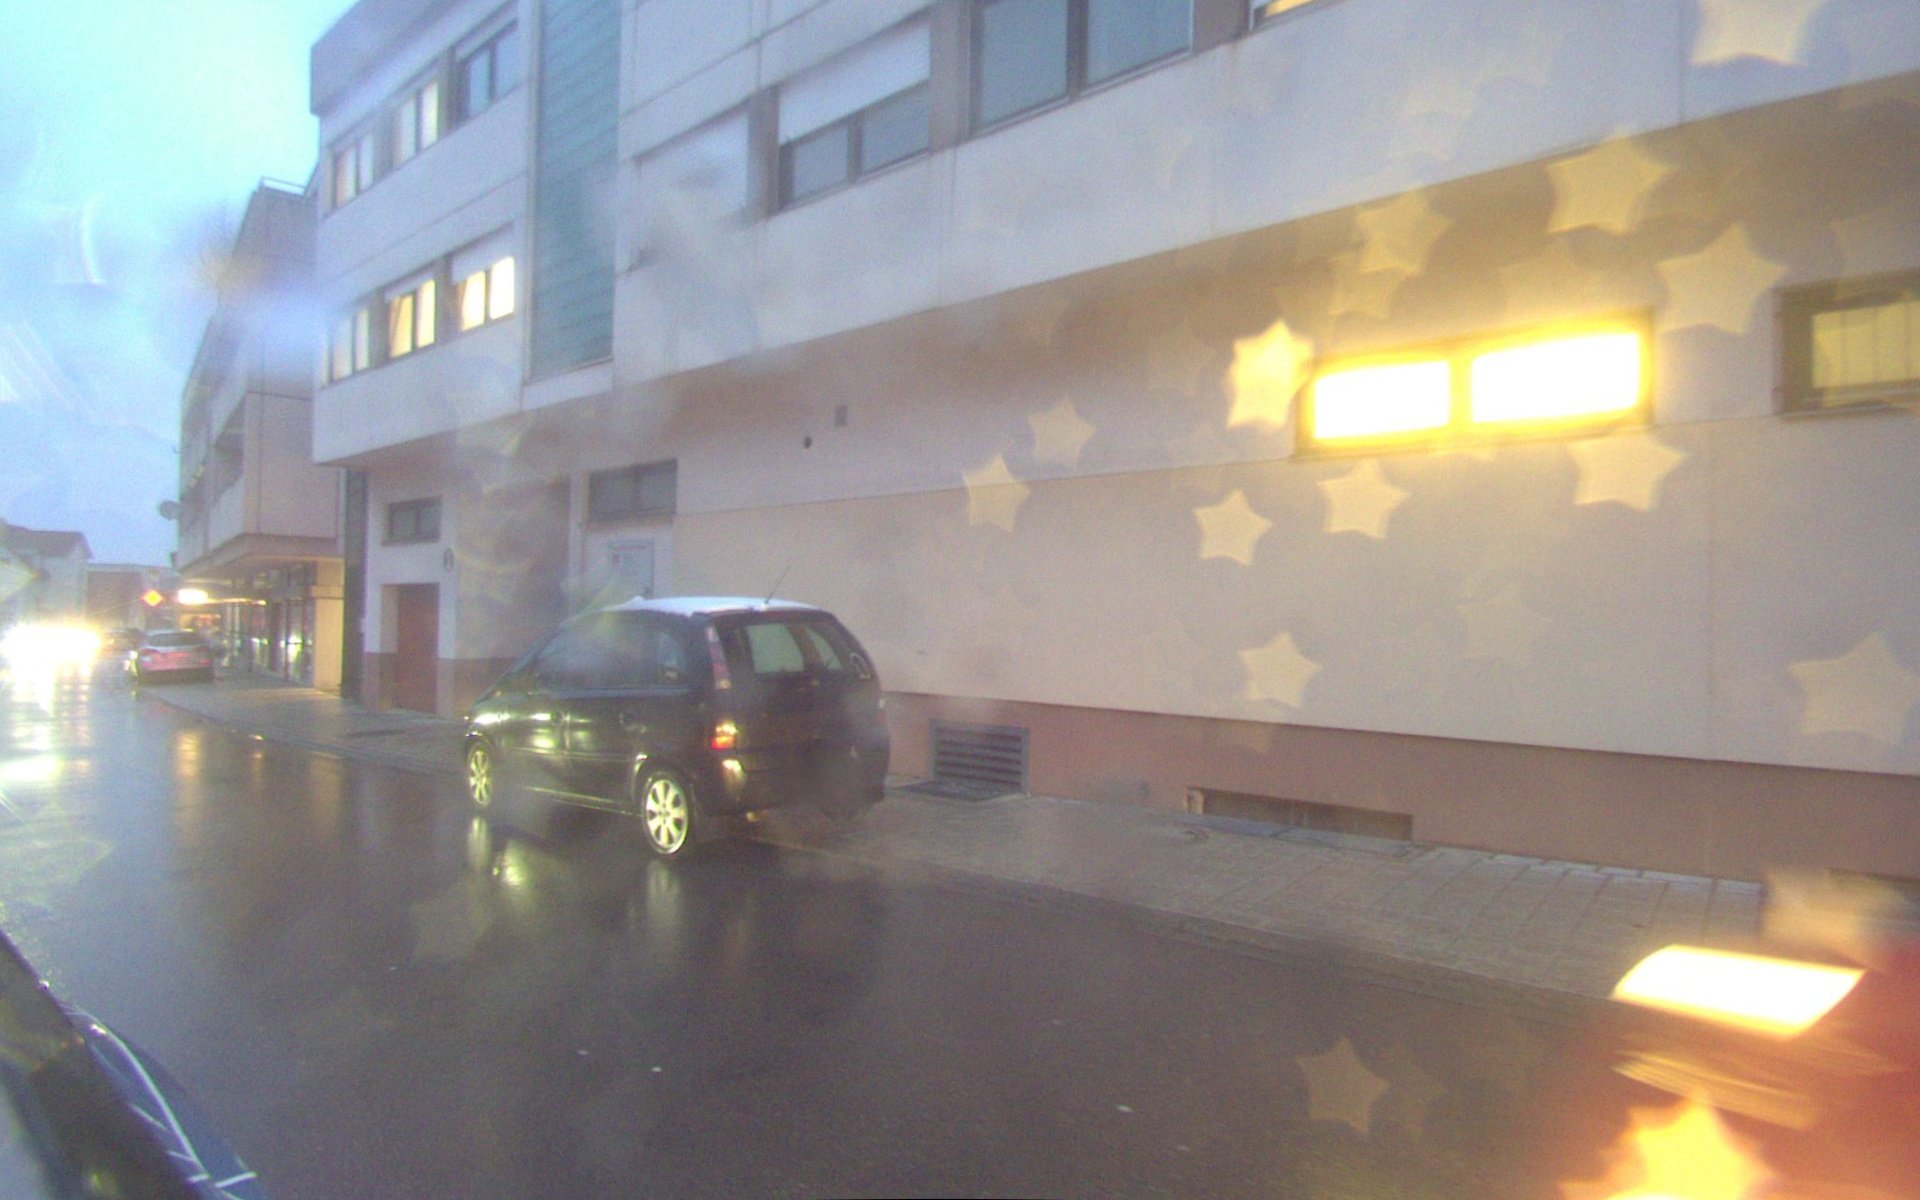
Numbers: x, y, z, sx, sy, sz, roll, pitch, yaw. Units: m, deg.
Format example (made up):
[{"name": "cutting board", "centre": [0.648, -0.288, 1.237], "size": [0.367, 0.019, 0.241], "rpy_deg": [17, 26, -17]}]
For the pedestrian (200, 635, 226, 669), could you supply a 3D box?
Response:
[{"name": "pedestrian", "centre": [-30.113, 2.087, 40.805], "size": [0.746, 1.320, 0.829], "rpy_deg": [0, -2, -43]}]

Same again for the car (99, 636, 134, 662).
[{"name": "car", "centre": [-56.440, 3.260, 67.747], "size": [1.699, 1.626, 3.822], "rpy_deg": [-1, -1, -40]}]

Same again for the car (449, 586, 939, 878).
[{"name": "car", "centre": [-2.165, 0.797, 7.679], "size": [3.810, 1.655, 1.775], "rpy_deg": [-2, -1, 41]}]

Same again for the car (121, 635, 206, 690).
[{"name": "car", "centre": [-23.194, 1.753, 29.402], "size": [1.655, 1.457, 4.433], "rpy_deg": [0, -2, -42]}]

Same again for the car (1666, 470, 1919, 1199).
[{"name": "car", "centre": [2.607, 0.623, 0.651], "size": [3.403, 1.547, 1.622], "rpy_deg": [-2, -2, 39]}]

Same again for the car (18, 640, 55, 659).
[{"name": "car", "centre": [-74.798, 3.992, 82.032], "size": [1.770, 1.522, 4.009], "rpy_deg": [4, -4, -37]}]

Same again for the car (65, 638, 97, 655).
[{"name": "car", "centre": [-86.312, 4.568, 99.404], "size": [1.770, 1.522, 4.011], "rpy_deg": [3, -4, -33]}]

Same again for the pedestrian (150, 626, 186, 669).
[{"name": "pedestrian", "centre": [-36.665, 2.183, 46.878], "size": [1.182, 1.953, 0.979], "rpy_deg": [2, -3, -33]}]
